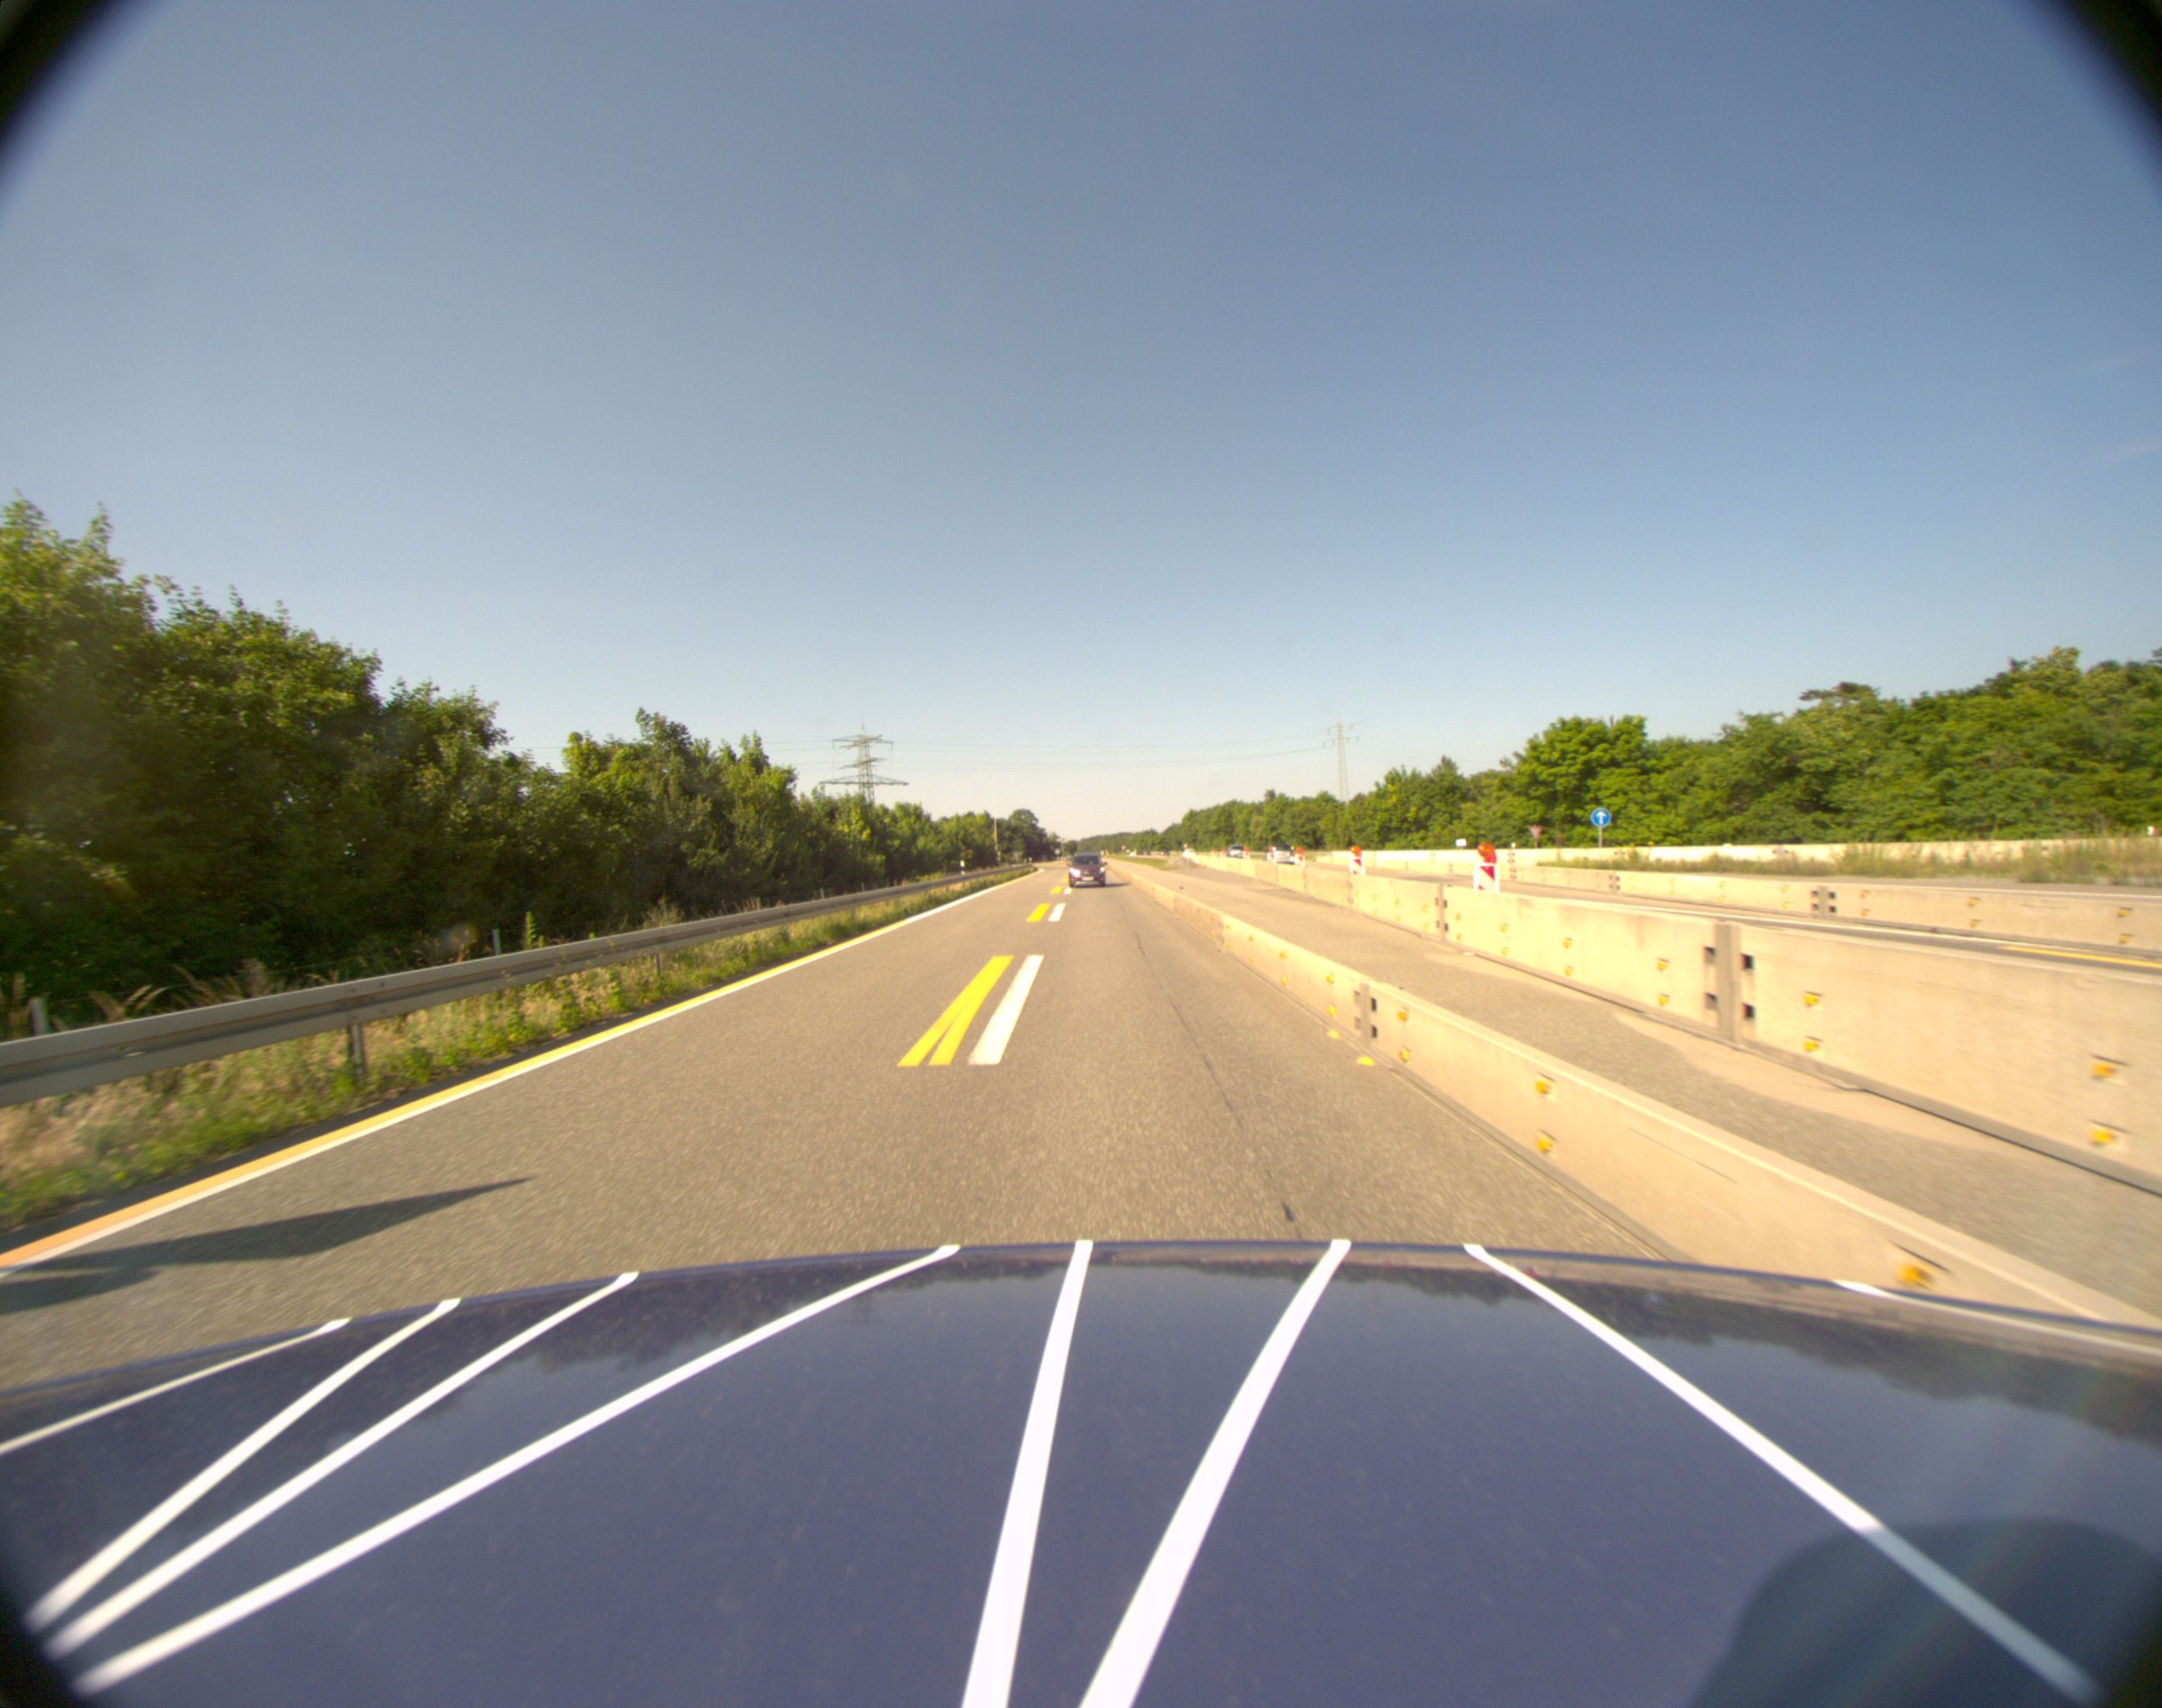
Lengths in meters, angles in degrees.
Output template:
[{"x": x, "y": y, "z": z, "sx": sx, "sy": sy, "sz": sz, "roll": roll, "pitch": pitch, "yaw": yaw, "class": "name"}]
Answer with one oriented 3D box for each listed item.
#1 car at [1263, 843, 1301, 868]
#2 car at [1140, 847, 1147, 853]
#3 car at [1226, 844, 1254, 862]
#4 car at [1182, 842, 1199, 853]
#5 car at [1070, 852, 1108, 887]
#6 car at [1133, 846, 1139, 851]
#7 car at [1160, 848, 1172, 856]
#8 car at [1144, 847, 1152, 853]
[{"x": 12.818, "y": 0.086, "z": 48.713, "sx": 1.715, "sy": 1.507, "sz": 4.180, "roll": -2, "pitch": 0, "yaw": 6, "class": "car"}, {"x": 18.264, "y": -1.163, "z": 222.326, "sx": 1.820, "sy": 1.479, "sz": 5.023, "roll": -3, "pitch": 0, "yaw": 2, "class": "car"}, {"x": 14.627, "y": -0.110, "z": 69.946, "sx": 1.998, "sy": 1.507, "sz": 4.582, "roll": -2, "pitch": 0, "yaw": 6, "class": "car"}, {"x": 16.642, "y": -0.929, "z": 115.761, "sx": 1.822, "sy": 1.598, "sz": 4.438, "roll": -1, "pitch": 0, "yaw": -1, "class": "car"}, {"x": 0.423, "y": 0.699, "z": 34.939, "sx": 1.587, "sy": 1.491, "sz": 4.416, "roll": -1, "pitch": 0, "yaw": 2, "class": "car"}, {"x": 18.751, "y": -1.847, "z": 259.743, "sx": 1.764, "sy": 1.462, "sz": 4.794, "roll": -3, "pitch": 0, "yaw": 0, "class": "car"}, {"x": 16.400, "y": -0.326, "z": 146.359, "sx": 1.844, "sy": 1.432, "sz": 4.813, "roll": -1, "pitch": 0, "yaw": 2, "class": "car"}, {"x": 18.194, "y": -1.171, "z": 206.457, "sx": 1.801, "sy": 1.426, "sz": 4.592, "roll": -3, "pitch": 0, "yaw": 1, "class": "car"}]
